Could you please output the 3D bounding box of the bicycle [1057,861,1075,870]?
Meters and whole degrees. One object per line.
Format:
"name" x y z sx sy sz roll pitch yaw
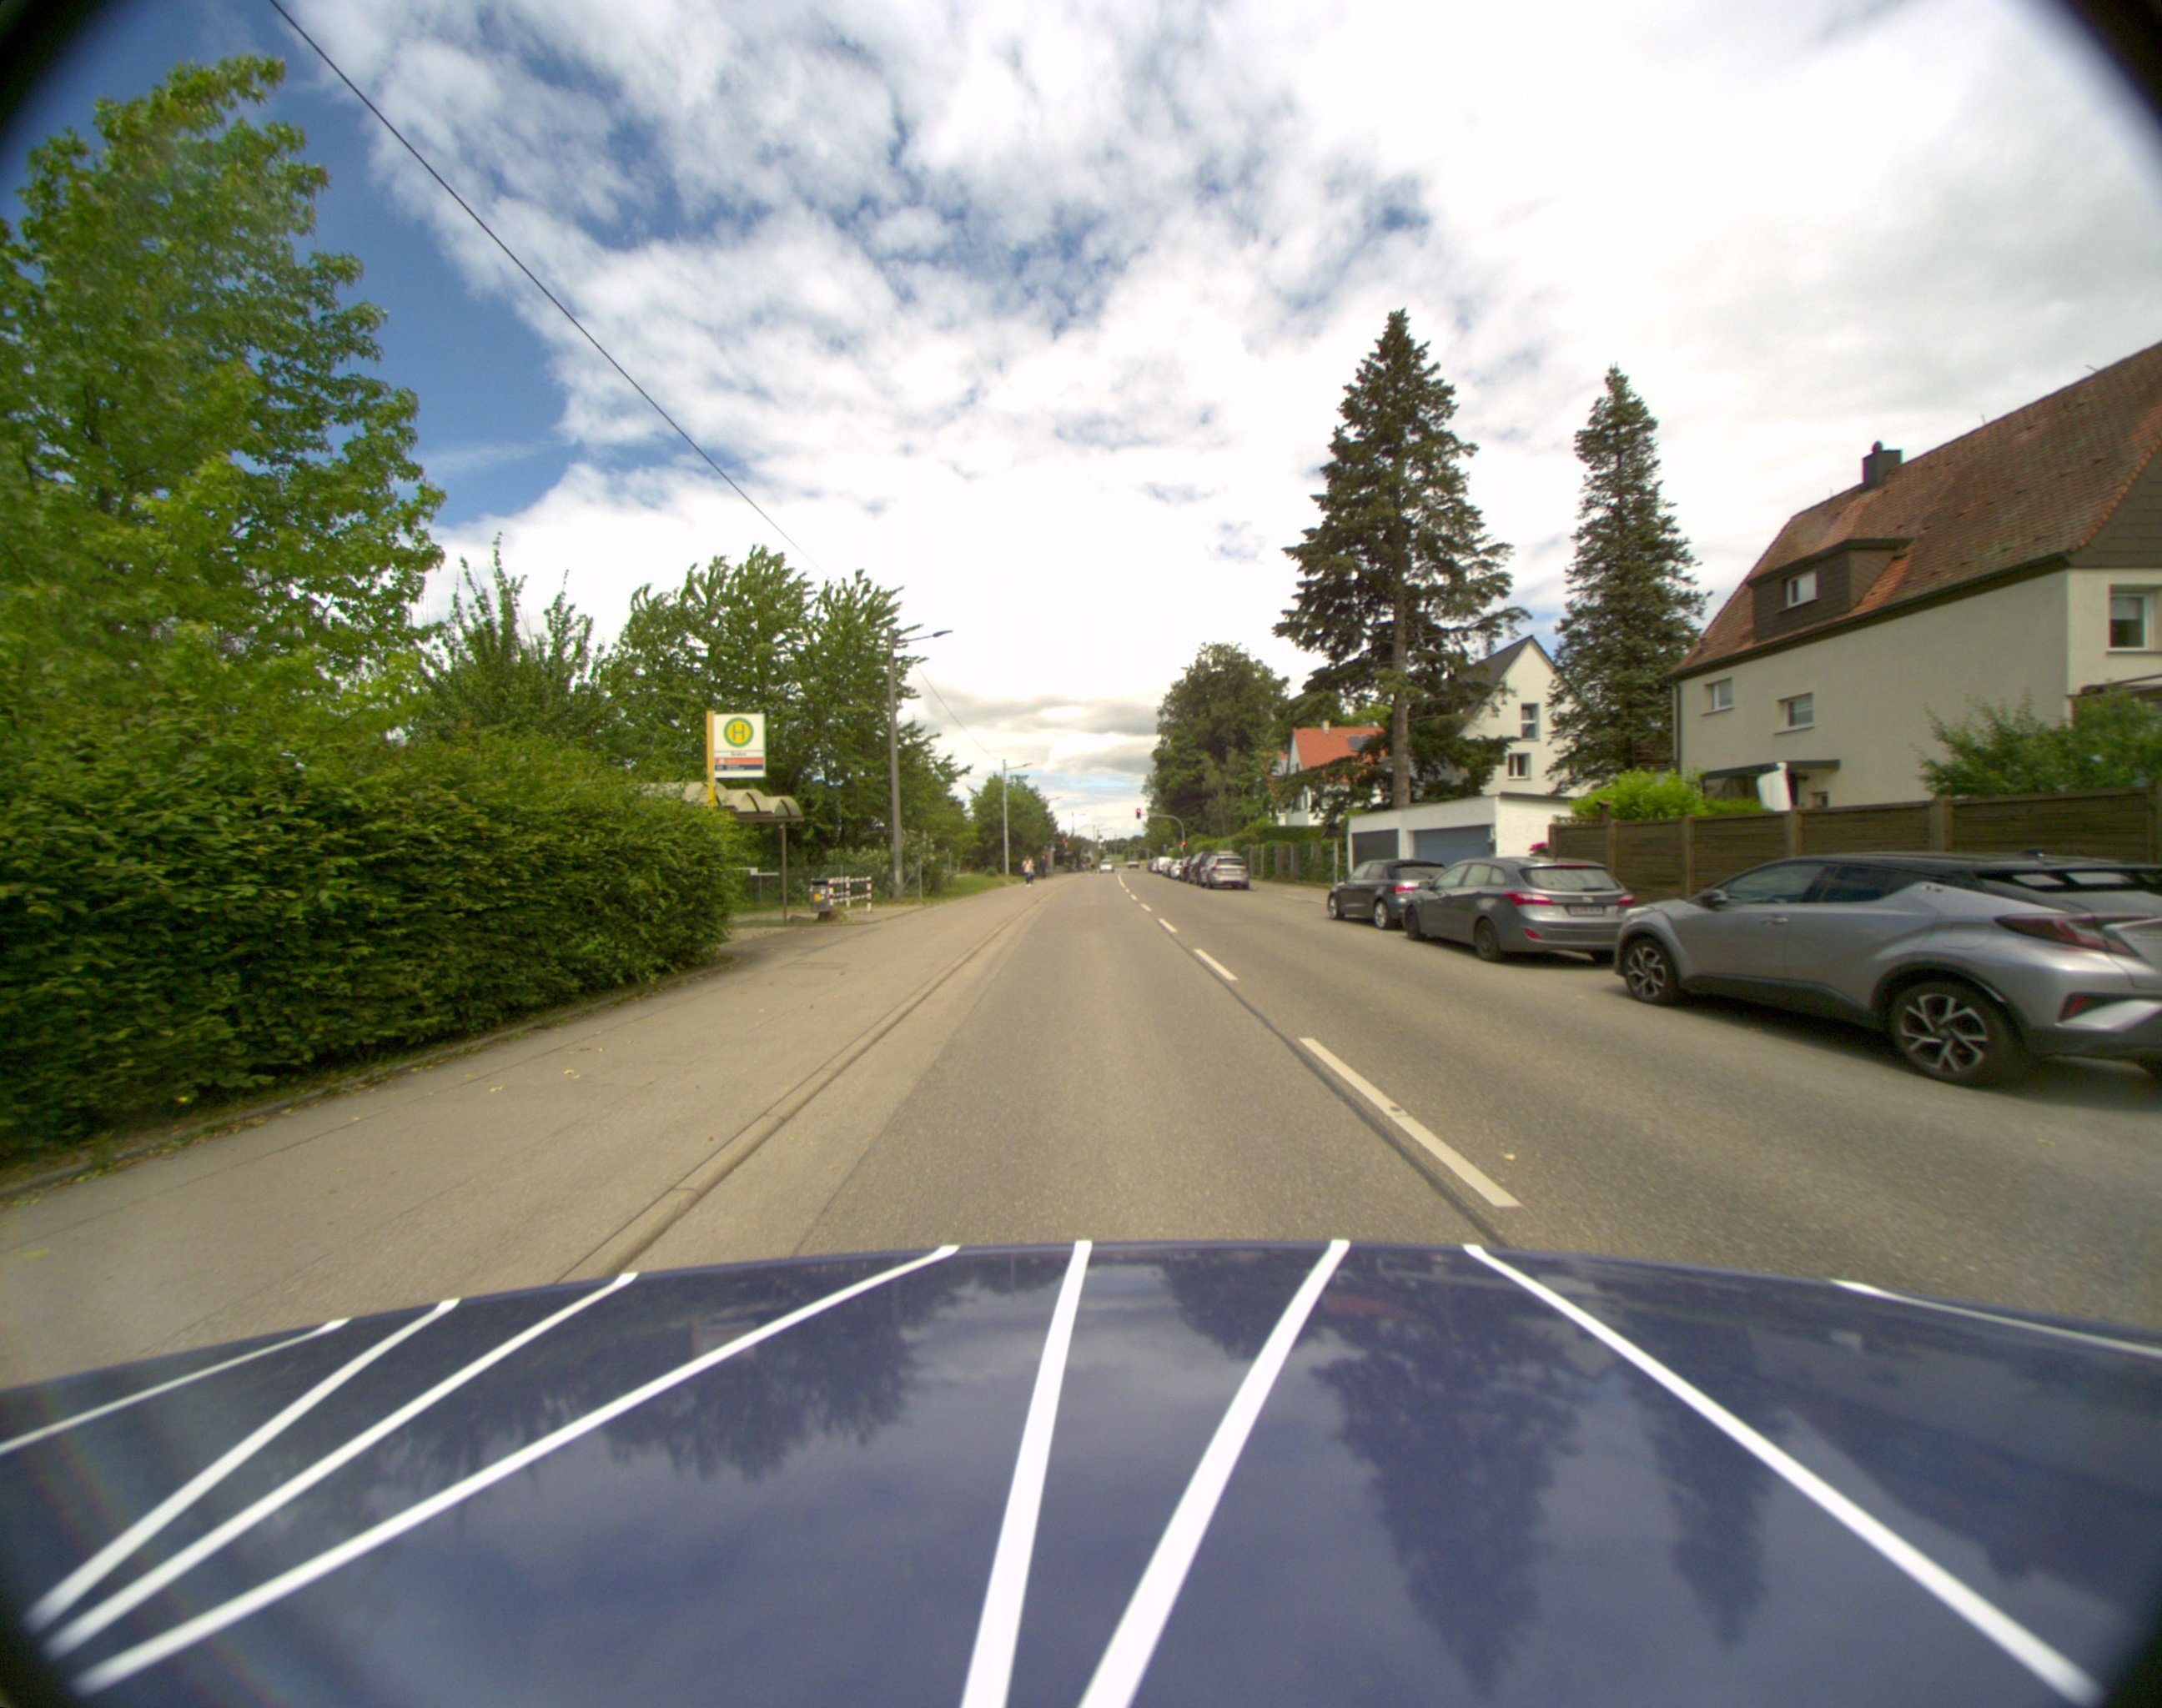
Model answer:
"bicycle" -1.965 1.540 100.014 2.204 1.143 0.451 -1 1 9

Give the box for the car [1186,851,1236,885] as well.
"car" 7.383 0.770 43.659 2.072 1.744 4.884 -2 0 1

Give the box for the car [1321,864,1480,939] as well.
"car" 6.736 0.944 16.507 1.656 1.418 3.905 0 -1 -3

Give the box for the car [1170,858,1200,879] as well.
"car" 7.629 1.039 56.166 1.809 1.450 5.070 1 0 4

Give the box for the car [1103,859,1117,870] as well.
"car" 3.579 1.288 93.995 1.665 1.394 3.901 -1 0 3

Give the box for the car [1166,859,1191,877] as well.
"car" 7.908 1.084 61.815 1.746 1.402 4.325 0 0 4

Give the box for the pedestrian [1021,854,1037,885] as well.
"pedestrian" -2.857 0.867 41.849 0.687 1.649 0.690 -2 0 7

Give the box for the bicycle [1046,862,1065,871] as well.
"bicycle" -3.014 1.509 90.128 2.092 1.074 0.547 0 1 6

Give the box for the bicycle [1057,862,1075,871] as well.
"bicycle" -1.956 1.637 98.558 2.206 1.041 0.451 -1 0 1

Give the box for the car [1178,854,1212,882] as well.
"car" 7.410 0.894 49.748 1.630 1.668 4.584 1 0 2

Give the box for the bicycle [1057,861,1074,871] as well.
"bicycle" -2.028 1.544 97.566 2.093 1.144 0.530 -2 0 1

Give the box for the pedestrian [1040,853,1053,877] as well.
"pedestrian" -2.697 0.861 59.574 0.746 1.871 0.802 -2 0 9

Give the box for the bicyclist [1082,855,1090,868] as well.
"bicyclist" 0.624 0.935 93.956 0.826 1.529 0.862 -2 0 1

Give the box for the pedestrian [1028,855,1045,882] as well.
"pedestrian" -2.814 0.909 47.947 0.841 1.649 0.766 -2 0 7

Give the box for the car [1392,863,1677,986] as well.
"car" 6.599 0.919 11.766 1.871 1.450 4.489 -1 0 2

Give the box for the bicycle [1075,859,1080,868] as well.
"bicycle" -0.383 1.172 93.414 0.451 1.142 2.208 -1 0 3

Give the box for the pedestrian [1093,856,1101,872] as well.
"pedestrian" 1.611 0.994 76.495 0.649 1.654 0.708 -2 0 8

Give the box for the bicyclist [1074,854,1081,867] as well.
"bicyclist" -0.400 0.772 93.343 0.826 1.529 0.862 -1 0 3

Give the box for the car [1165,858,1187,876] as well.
"car" 8.434 1.109 67.475 1.706 1.534 3.744 1 0 4

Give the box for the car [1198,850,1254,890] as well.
"car" 7.066 0.755 37.499 1.989 1.808 4.708 -1 0 2

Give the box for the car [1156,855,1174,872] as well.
"car" 9.128 1.028 82.707 1.680 1.748 4.609 1 0 2

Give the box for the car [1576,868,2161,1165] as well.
"car" 6.523 0.909 6.306 1.998 1.471 4.648 0 0 3

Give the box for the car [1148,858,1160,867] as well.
"car" 12.556 1.456 131.131 1.971 1.394 4.067 -1 0 5

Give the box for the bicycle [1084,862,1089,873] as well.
"bicycle" 0.687 1.682 94.309 0.451 1.278 2.207 -2 0 -1

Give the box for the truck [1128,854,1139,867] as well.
"truck" 10.387 1.305 150.236 2.194 2.357 6.907 0 0 4

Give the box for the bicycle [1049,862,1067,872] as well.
"bicycle" -2.796 1.578 91.523 2.093 1.041 0.559 -4 0 6

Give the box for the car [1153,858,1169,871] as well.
"car" 9.286 1.210 87.966 1.708 1.444 4.360 2 0 7
